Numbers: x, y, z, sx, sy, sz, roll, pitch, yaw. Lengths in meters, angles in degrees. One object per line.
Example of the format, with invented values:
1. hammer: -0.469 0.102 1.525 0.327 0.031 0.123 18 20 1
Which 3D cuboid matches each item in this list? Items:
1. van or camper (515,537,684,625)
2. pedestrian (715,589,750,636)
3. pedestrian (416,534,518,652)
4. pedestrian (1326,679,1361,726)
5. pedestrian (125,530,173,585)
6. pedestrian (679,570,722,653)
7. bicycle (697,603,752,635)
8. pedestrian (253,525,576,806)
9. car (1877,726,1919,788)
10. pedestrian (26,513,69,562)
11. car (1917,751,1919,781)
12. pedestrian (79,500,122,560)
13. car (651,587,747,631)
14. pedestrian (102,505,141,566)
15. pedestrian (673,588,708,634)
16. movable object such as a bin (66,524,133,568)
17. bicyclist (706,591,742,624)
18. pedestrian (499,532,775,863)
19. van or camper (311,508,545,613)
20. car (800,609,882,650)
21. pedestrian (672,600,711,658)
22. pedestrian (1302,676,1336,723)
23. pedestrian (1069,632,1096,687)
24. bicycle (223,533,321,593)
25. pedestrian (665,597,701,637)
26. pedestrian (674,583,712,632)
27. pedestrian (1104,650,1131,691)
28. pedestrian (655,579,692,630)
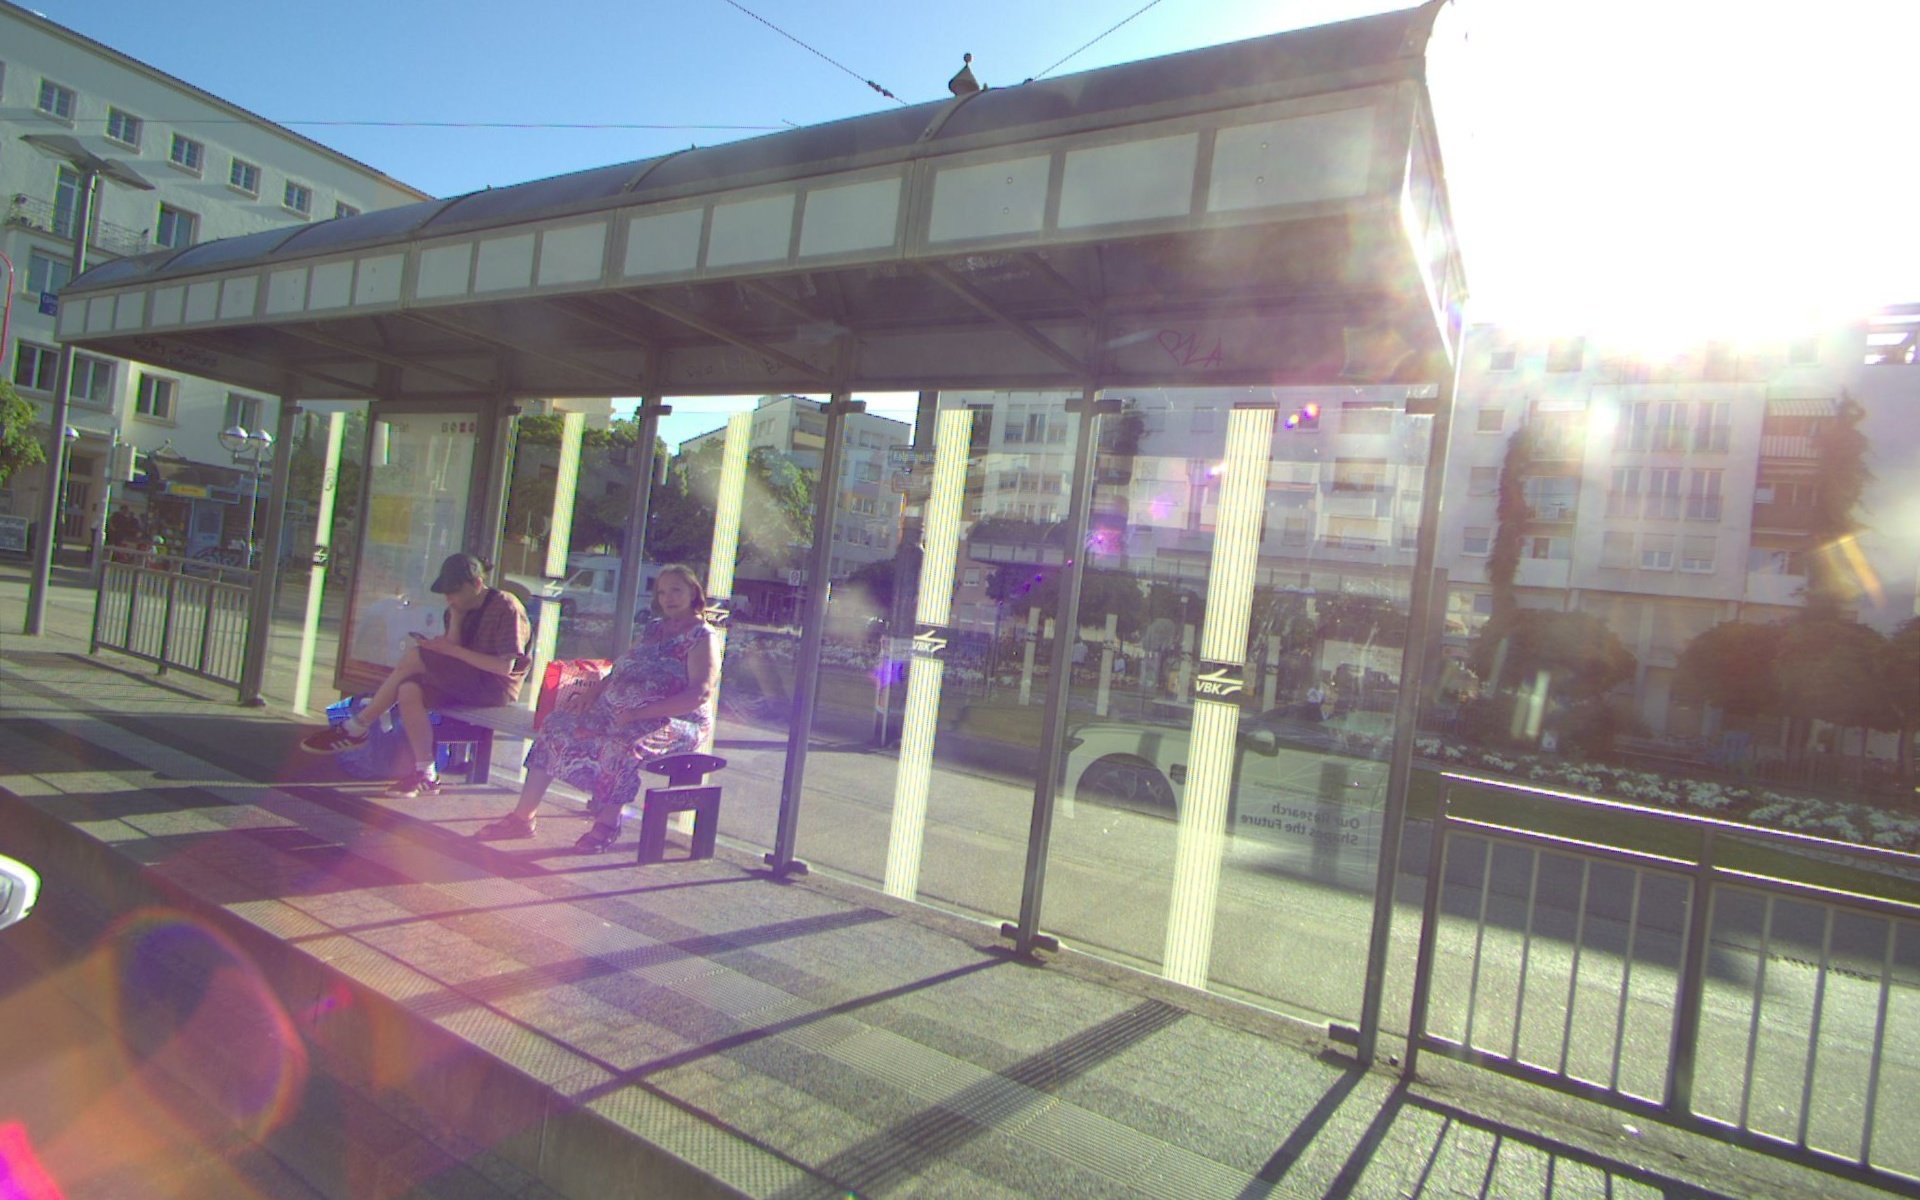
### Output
1. van or camper: -15.265 -0.724 43.027 2.340 2.873 6.411 6 -2 35
2. pedestrian: -8.339 0.461 36.909 0.651 1.604 0.902 7 -1 35
3. pedestrian: -8.631 -0.114 17.618 1.110 1.900 0.983 6 -1 29
4. pedestrian: 11.560 3.074 30.351 0.718 1.287 0.745 7 0 11
5. pedestrian: -23.600 -1.232 29.265 0.742 1.427 0.731 10 1 32
6. pedestrian: -5.833 0.260 22.604 0.520 1.765 0.557 6 -2 42
7. bicycle: -10.012 0.822 42.905 0.709 1.073 2.320 7 -3 33
8. pedestrian: -2.788 0.343 5.204 0.908 1.238 1.001 6 -4 32
9. car: 45.267 7.374 44.424 6.286 2.585 2.812 7 -1 28
10. pedestrian: -26.770 -1.826 29.526 0.736 1.331 0.622 7 -1 -35
11. car: 40.928 6.923 39.960 3.941 1.303 1.993 6 -1 38
12. pedestrian: -28.378 -2.304 33.213 0.667 1.861 0.785 7 0 35
13. car: -12.664 0.457 49.034 1.974 1.528 3.982 5 -3 43
14. pedestrian: -27.370 -2.097 32.839 0.649 1.861 0.653 7 0 35
15. pedestrian: -10.022 0.408 37.440 0.651 1.604 0.902 7 -1 35
16. movable object such as a bin: -26.915 -1.685 31.472 1.197 1.167 1.200 6 -1 32
17. bicyclist: -10.026 0.318 42.774 0.938 1.239 0.932 7 -2 33
18. pedestrian: -1.474 0.446 4.693 0.613 1.348 0.861 6 -4 31
19. van or camper: -19.253 -1.317 36.926 2.331 2.780 7.132 8 -1 32
20. car: -5.512 1.411 47.081 1.964 1.503 4.001 7 -2 23
21. pedestrian: -5.859 0.635 21.941 0.550 1.182 0.469 5 -2 40
22. pedestrian: 10.853 3.004 30.460 0.718 1.287 0.745 7 0 11
23. pedestrian: 4.136 1.990 33.912 0.661 1.745 1.028 7 0 11
24. bicycle: -22.291 -1.170 32.670 0.714 1.548 2.391 7 -3 31
25. pedestrian: -9.831 0.613 35.720 0.595 1.295 0.902 7 -1 34
26. pedestrian: -9.363 0.269 35.327 0.651 1.604 0.902 7 -1 35
27. pedestrian: 5.332 2.386 34.096 0.718 1.287 1.042 7 -1 11
28. pedestrian: -10.297 0.163 36.159 0.889 1.704 0.694 6 -2 31
